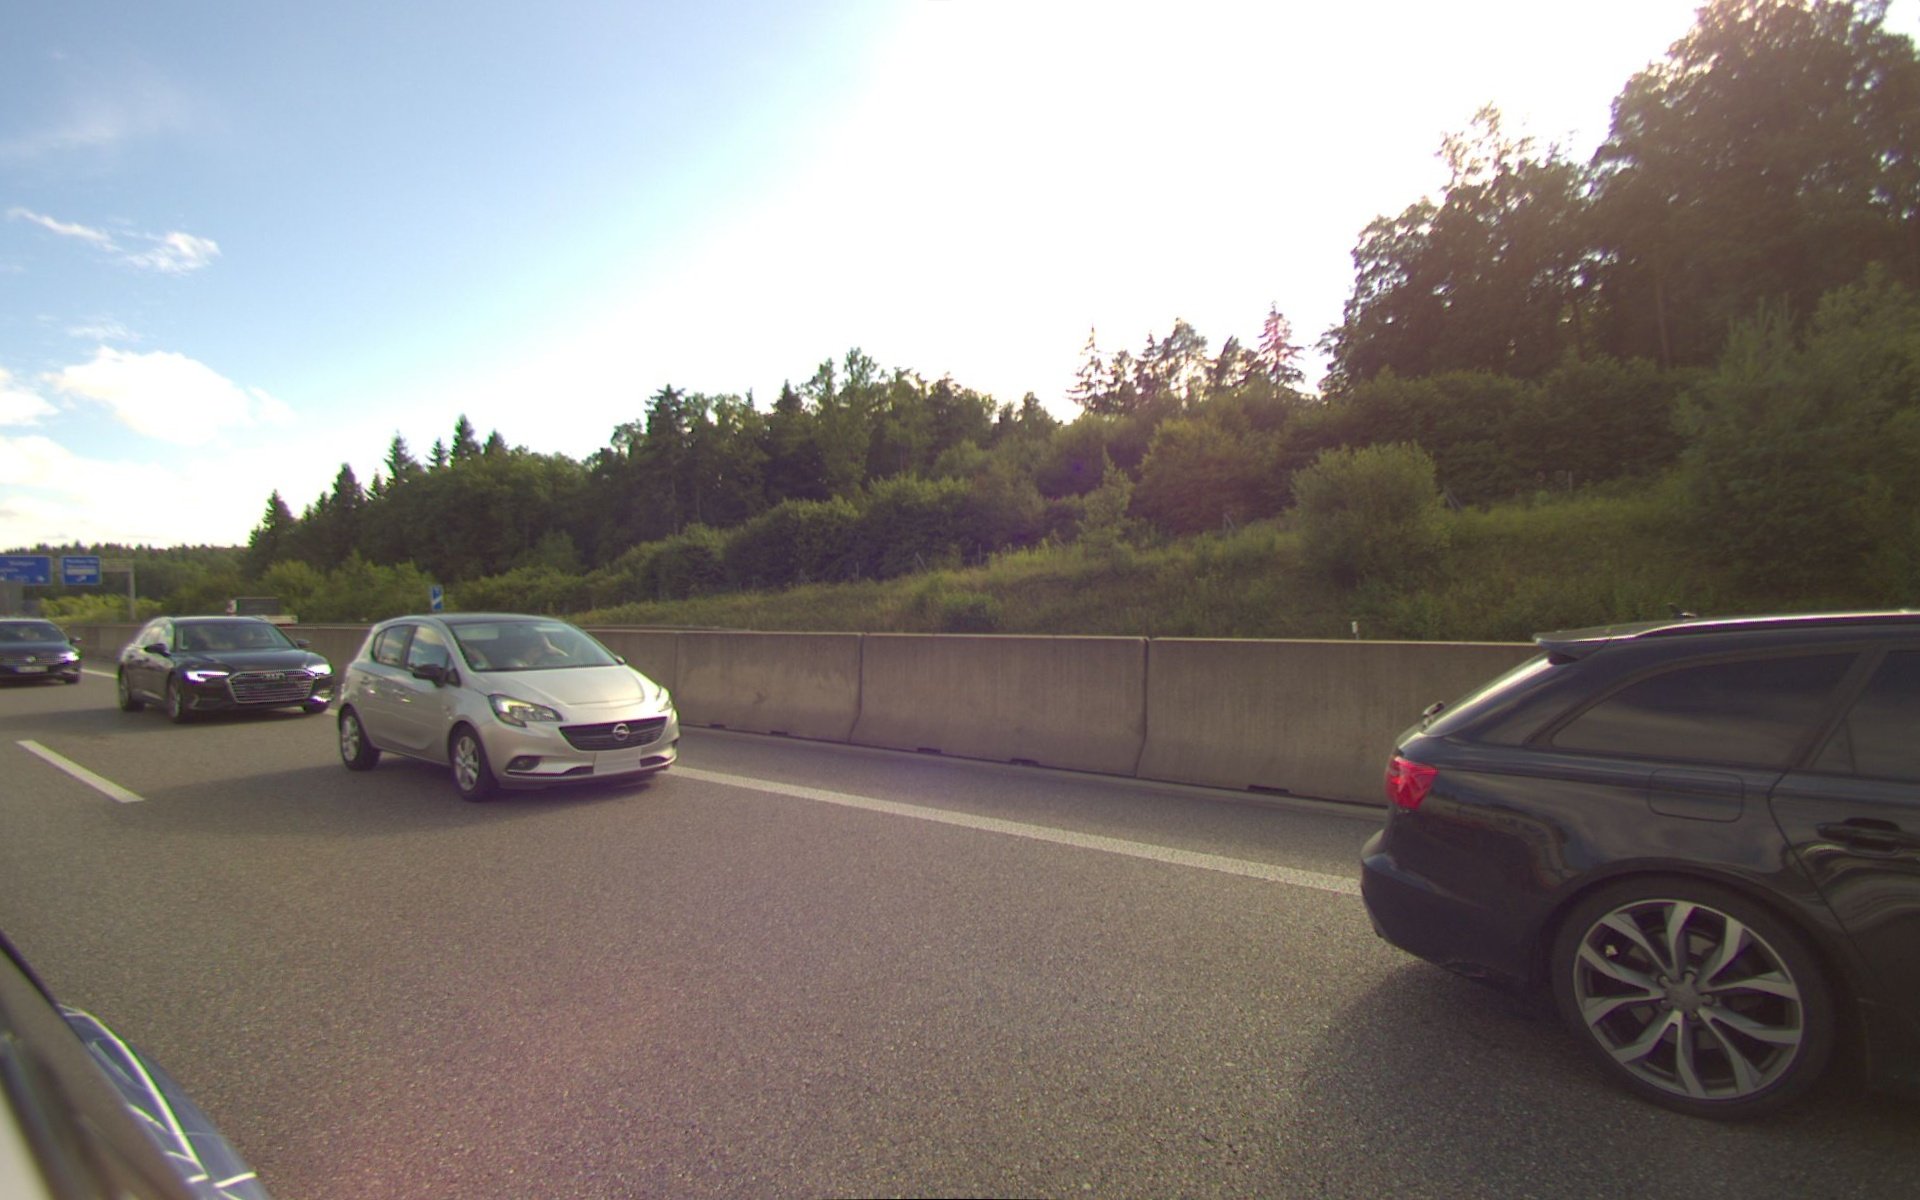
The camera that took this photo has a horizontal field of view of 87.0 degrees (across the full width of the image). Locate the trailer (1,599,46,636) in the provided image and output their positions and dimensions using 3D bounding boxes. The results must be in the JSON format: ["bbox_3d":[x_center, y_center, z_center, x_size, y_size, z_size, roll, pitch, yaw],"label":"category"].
[{"bbox_3d":[-128.630,2.303,138.902,14.644,4.866,2.897,-1,0,41],"label":"trailer"}]

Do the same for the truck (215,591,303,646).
[{"bbox_3d":[-38.373,1.008,55.334,6.426,2.876,2.398,-1,-1,41],"label":"truck"}]

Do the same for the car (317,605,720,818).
[{"bbox_3d":[-4.065,0.824,9.014,4.038,1.477,1.729,-2,-2,41],"label":"car"}]

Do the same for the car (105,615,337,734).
[{"bbox_3d":[-11.241,1.004,15.248,4.850,1.483,1.862,-1,-1,42],"label":"car"}]

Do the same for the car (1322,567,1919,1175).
[{"bbox_3d":[3.602,0.632,2.521,4.745,1.467,1.824,-1,-1,41],"label":"car"}]

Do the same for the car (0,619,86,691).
[{"bbox_3d":[-21.448,1.203,23.045,4.569,1.488,1.890,-1,-1,43],"label":"car"}]

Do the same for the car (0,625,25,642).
[{"bbox_3d":[-104.682,3.690,111.594,4.621,1.823,1.833,-1,-1,41],"label":"car"}]

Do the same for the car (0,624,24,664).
[{"bbox_3d":[-36.120,1.619,37.423,3.992,1.442,1.786,-1,-1,41],"label":"car"}]
